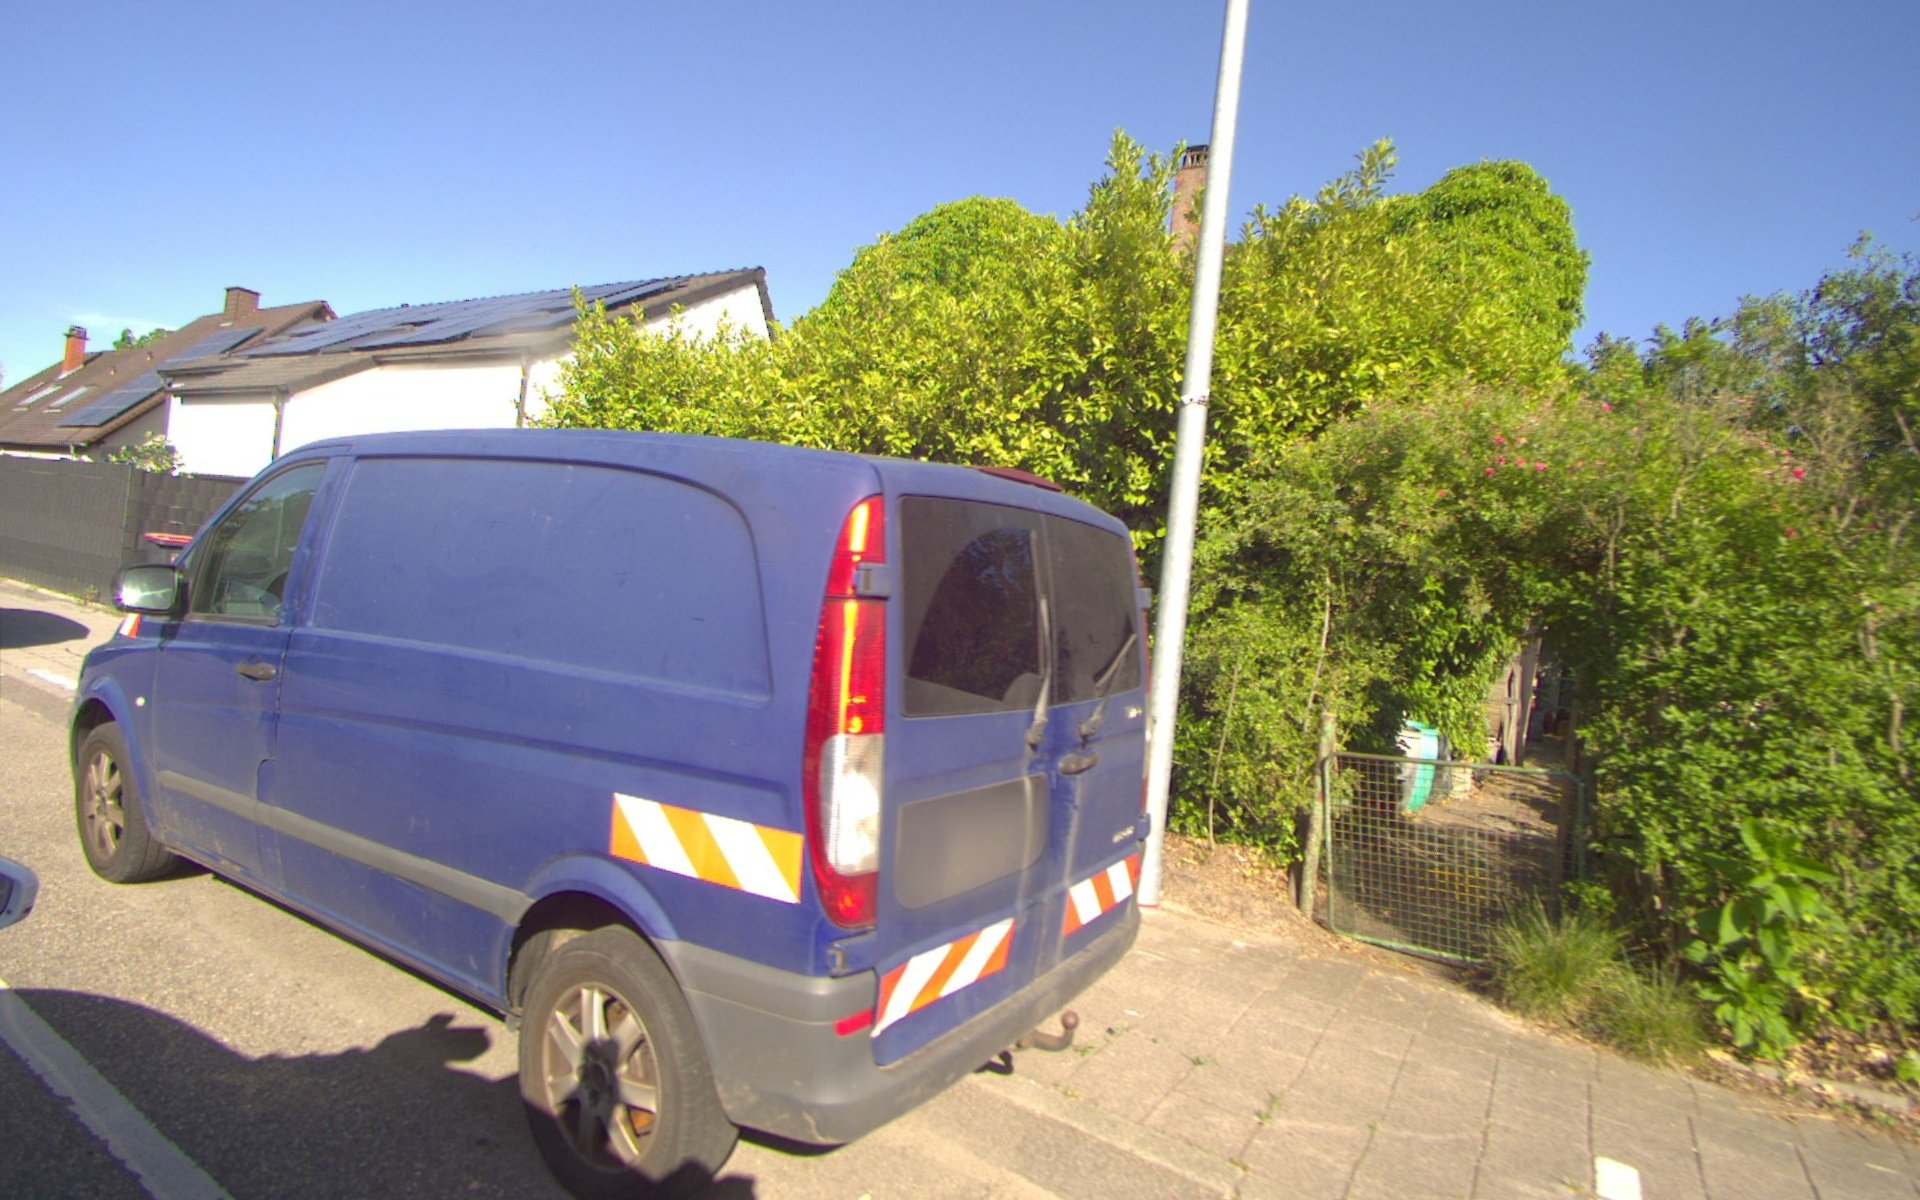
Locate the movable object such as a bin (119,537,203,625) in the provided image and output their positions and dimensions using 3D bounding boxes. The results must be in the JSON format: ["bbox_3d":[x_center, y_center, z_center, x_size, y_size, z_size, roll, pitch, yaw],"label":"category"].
[{"bbox_3d":[-10.299,-0.245,12.969,0.693,1.052,0.595,4,-1,34],"label":"movable object such as a bin"}]

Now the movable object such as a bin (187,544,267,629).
[{"bbox_3d":[-9.744,-0.176,13.372,0.693,1.052,0.595,4,-1,34],"label":"movable object such as a bin"}]

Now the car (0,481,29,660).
[{"bbox_3d":[-10.525,-0.526,9.150,4.910,1.498,1.767,6,0,33],"label":"car"}]

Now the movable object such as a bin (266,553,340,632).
[{"bbox_3d":[-9.437,-0.105,14.445,0.693,1.052,0.595,4,-1,34],"label":"movable object such as a bin"}]

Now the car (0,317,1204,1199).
[{"bbox_3d":[-1.693,0.327,3.888,4.621,1.930,1.840,6,-2,33],"label":"car"}]
